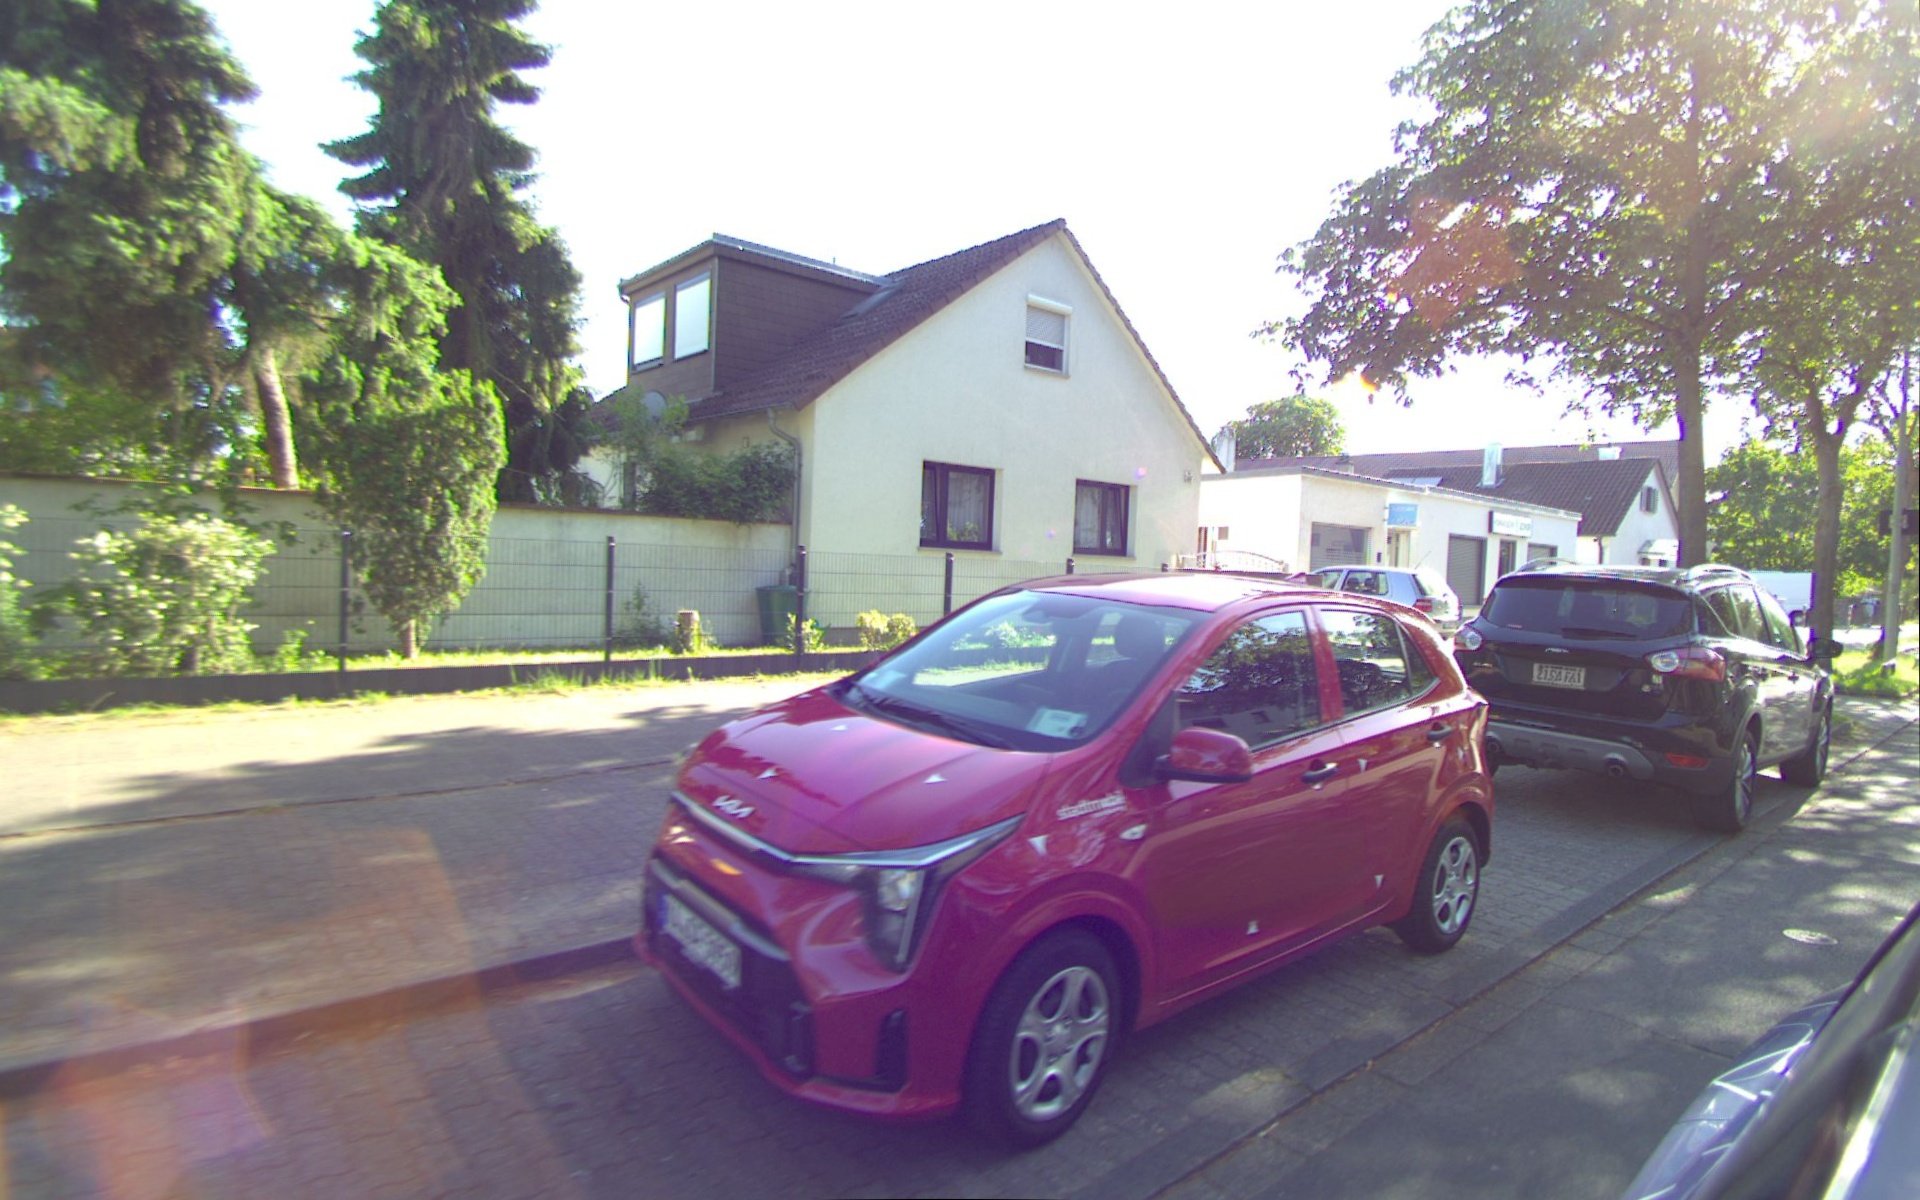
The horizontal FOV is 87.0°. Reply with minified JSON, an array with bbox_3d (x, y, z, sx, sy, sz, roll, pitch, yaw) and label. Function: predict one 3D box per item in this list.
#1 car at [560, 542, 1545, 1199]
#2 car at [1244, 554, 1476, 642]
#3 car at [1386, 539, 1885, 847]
[{"bbox_3d":[0.610,0.570,3.969,3.710,1.439,1.690,-1,5,-40],"label":"car"},{"bbox_3d":[7.280,-0.045,18.634,1.667,1.457,3.615,-1,0,-43],"label":"car"},{"bbox_3d":[5.310,0.476,7.745,4.283,1.714,1.942,0,3,-39],"label":"car"}]
